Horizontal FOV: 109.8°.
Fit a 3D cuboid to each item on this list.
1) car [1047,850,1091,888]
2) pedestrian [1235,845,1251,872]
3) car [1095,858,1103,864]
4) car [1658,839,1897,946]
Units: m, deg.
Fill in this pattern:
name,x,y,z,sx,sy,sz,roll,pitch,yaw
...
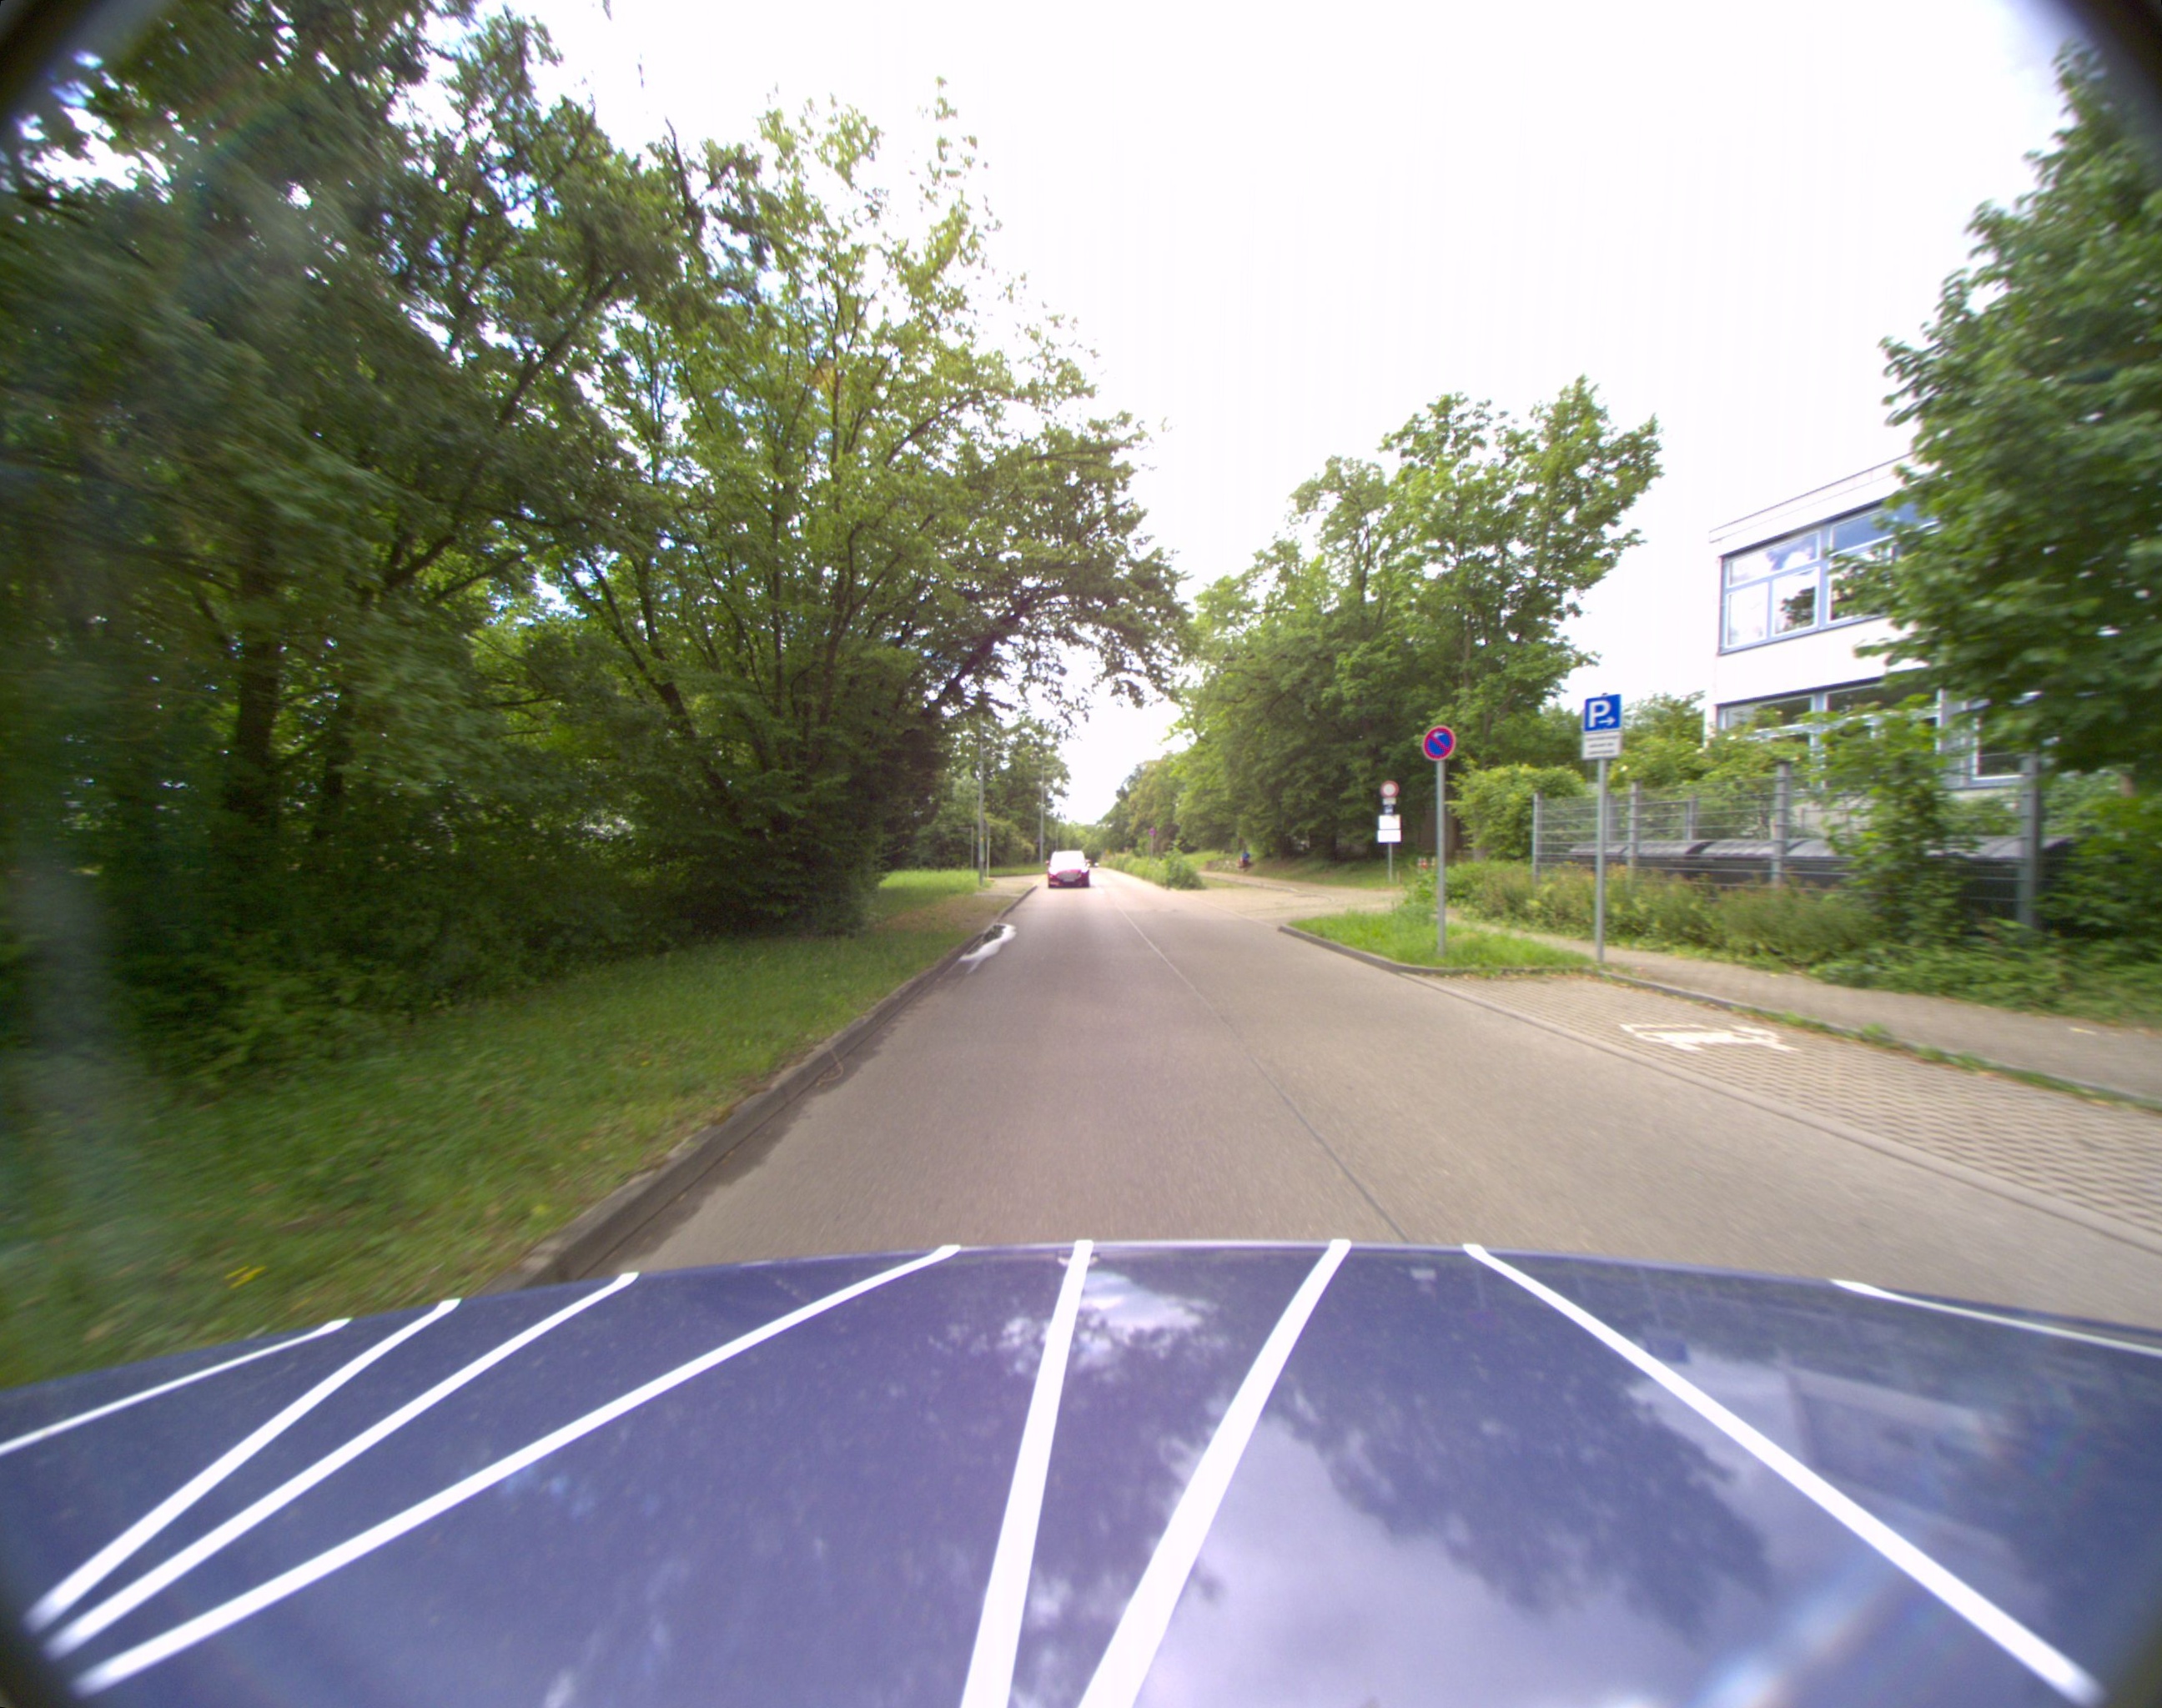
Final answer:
name,x,y,z,sx,sy,sz,roll,pitch,yaw
car,-0.561,0.638,35.337,1.861,1.608,4.475,-2,0,-1
pedestrian,10.070,0.278,47.239,0.762,1.653,0.809,0,1,-3
car,4.071,1.610,169.825,1.620,1.324,4.000,0,0,0
car,14.683,0.718,16.380,1.997,2.002,4.004,0,0,11
